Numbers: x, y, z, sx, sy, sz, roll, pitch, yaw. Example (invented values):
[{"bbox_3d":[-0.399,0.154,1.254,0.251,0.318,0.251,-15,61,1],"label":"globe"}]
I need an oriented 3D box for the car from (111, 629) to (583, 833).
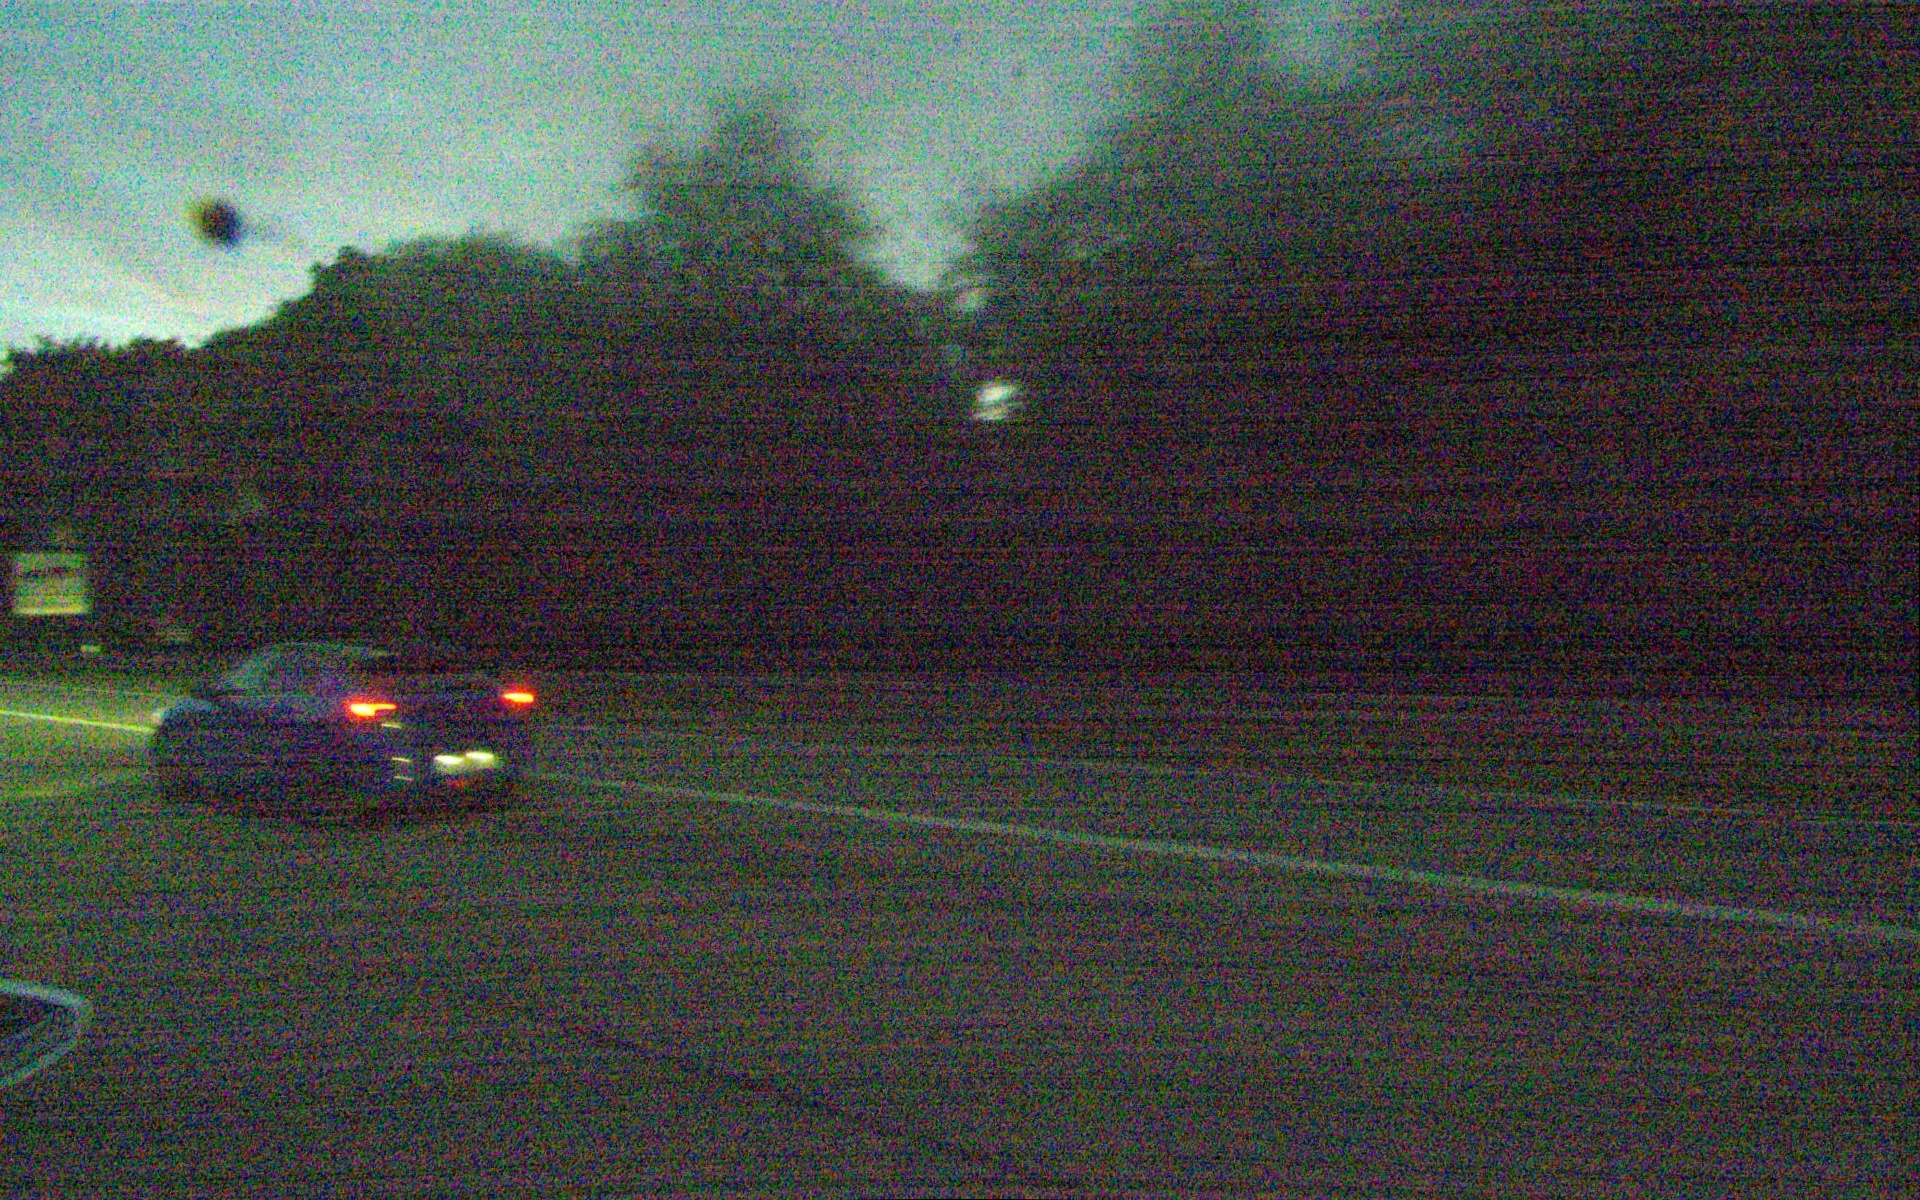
[{"bbox_3d":[-5.686,1.016,9.141,4.518,1.454,1.862,-1,-2,32],"label":"car"}]
